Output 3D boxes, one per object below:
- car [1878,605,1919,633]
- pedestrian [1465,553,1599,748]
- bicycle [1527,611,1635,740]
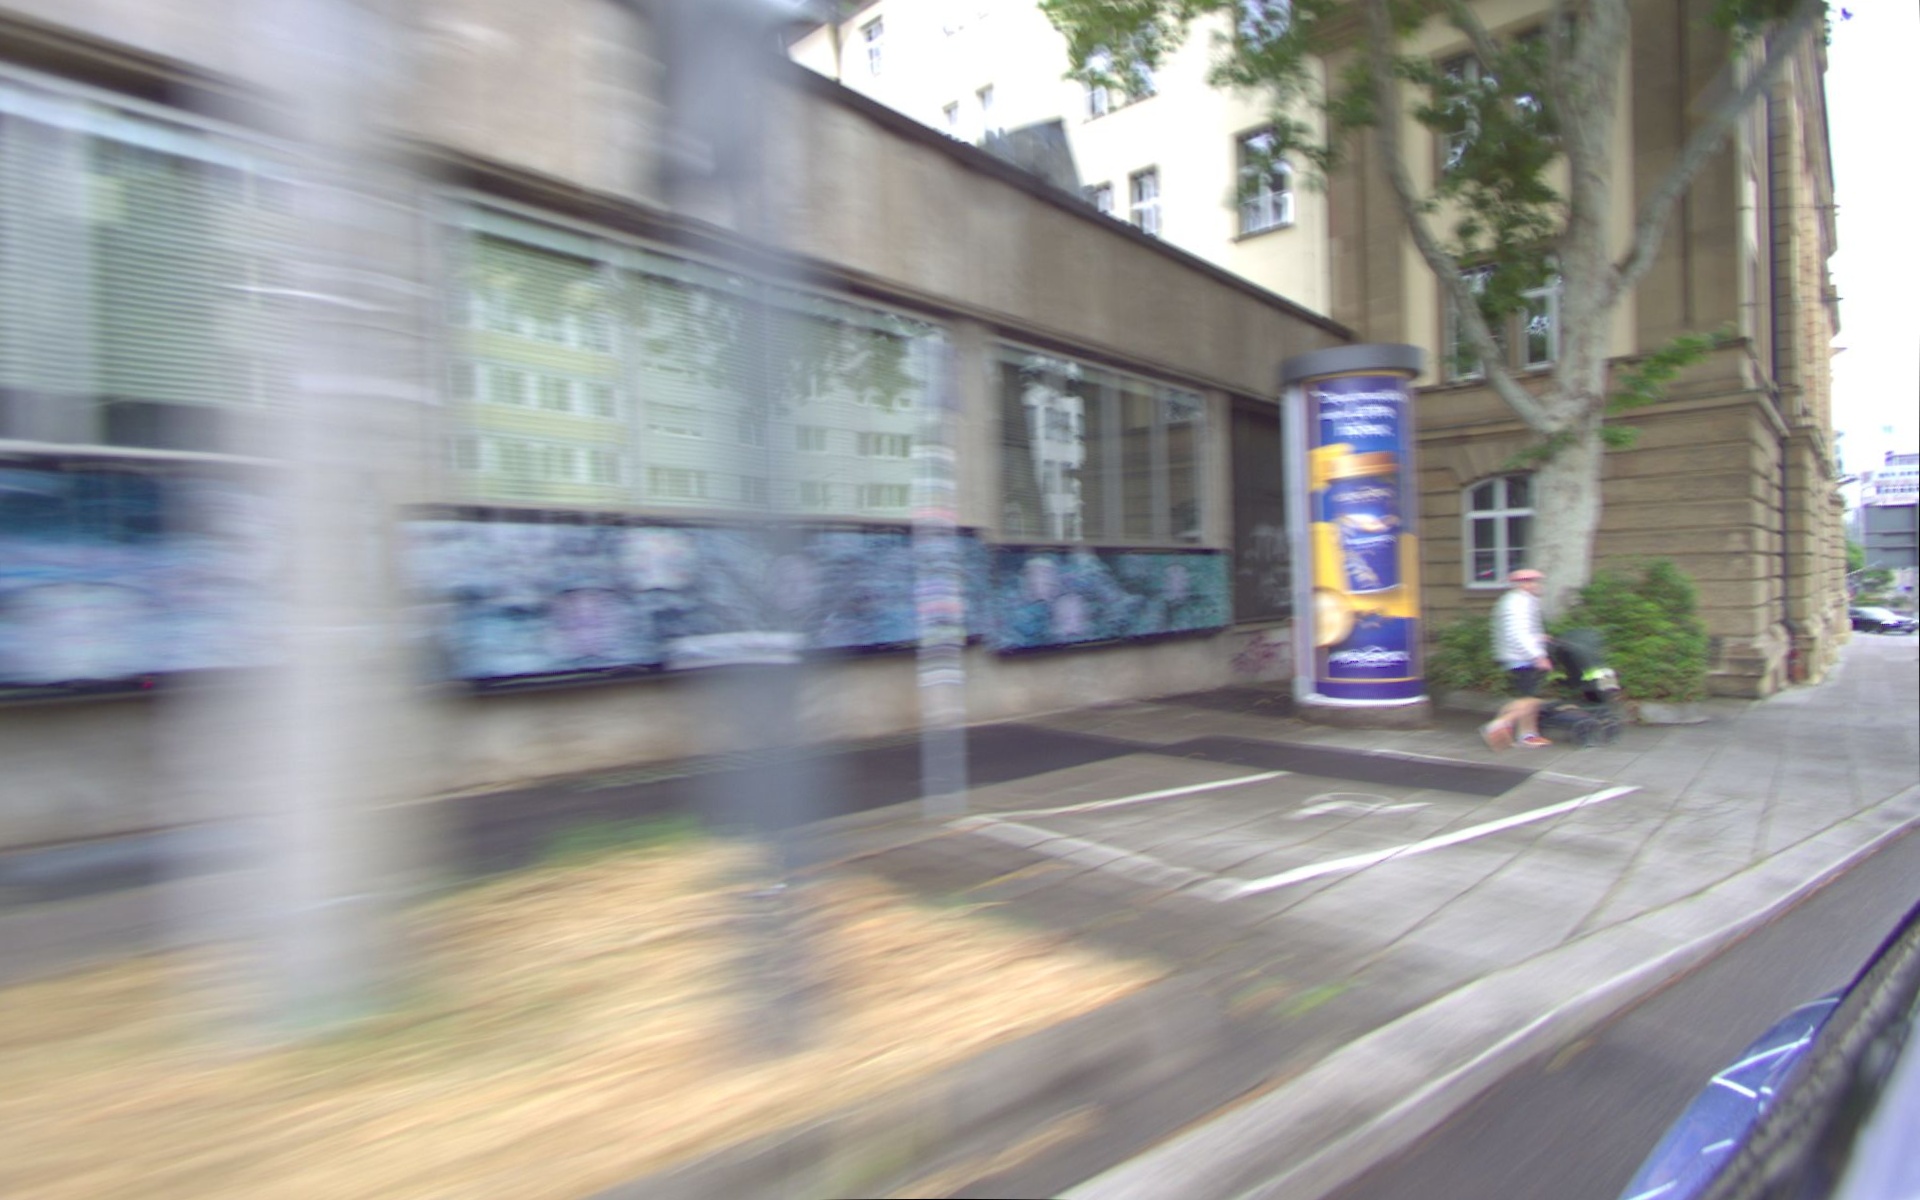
[{"bbox_3d":[52.434,1.066,56.279,1.992,1.486,4.570,-3,-2,43],"label":"car"},{"bbox_3d":[5.513,0.455,9.756,0.999,1.764,0.721,1,1,-34],"label":"pedestrian"},{"bbox_3d":[6.325,0.740,10.305,0.893,1.236,0.621,1,0,-34],"label":"bicycle"}]
